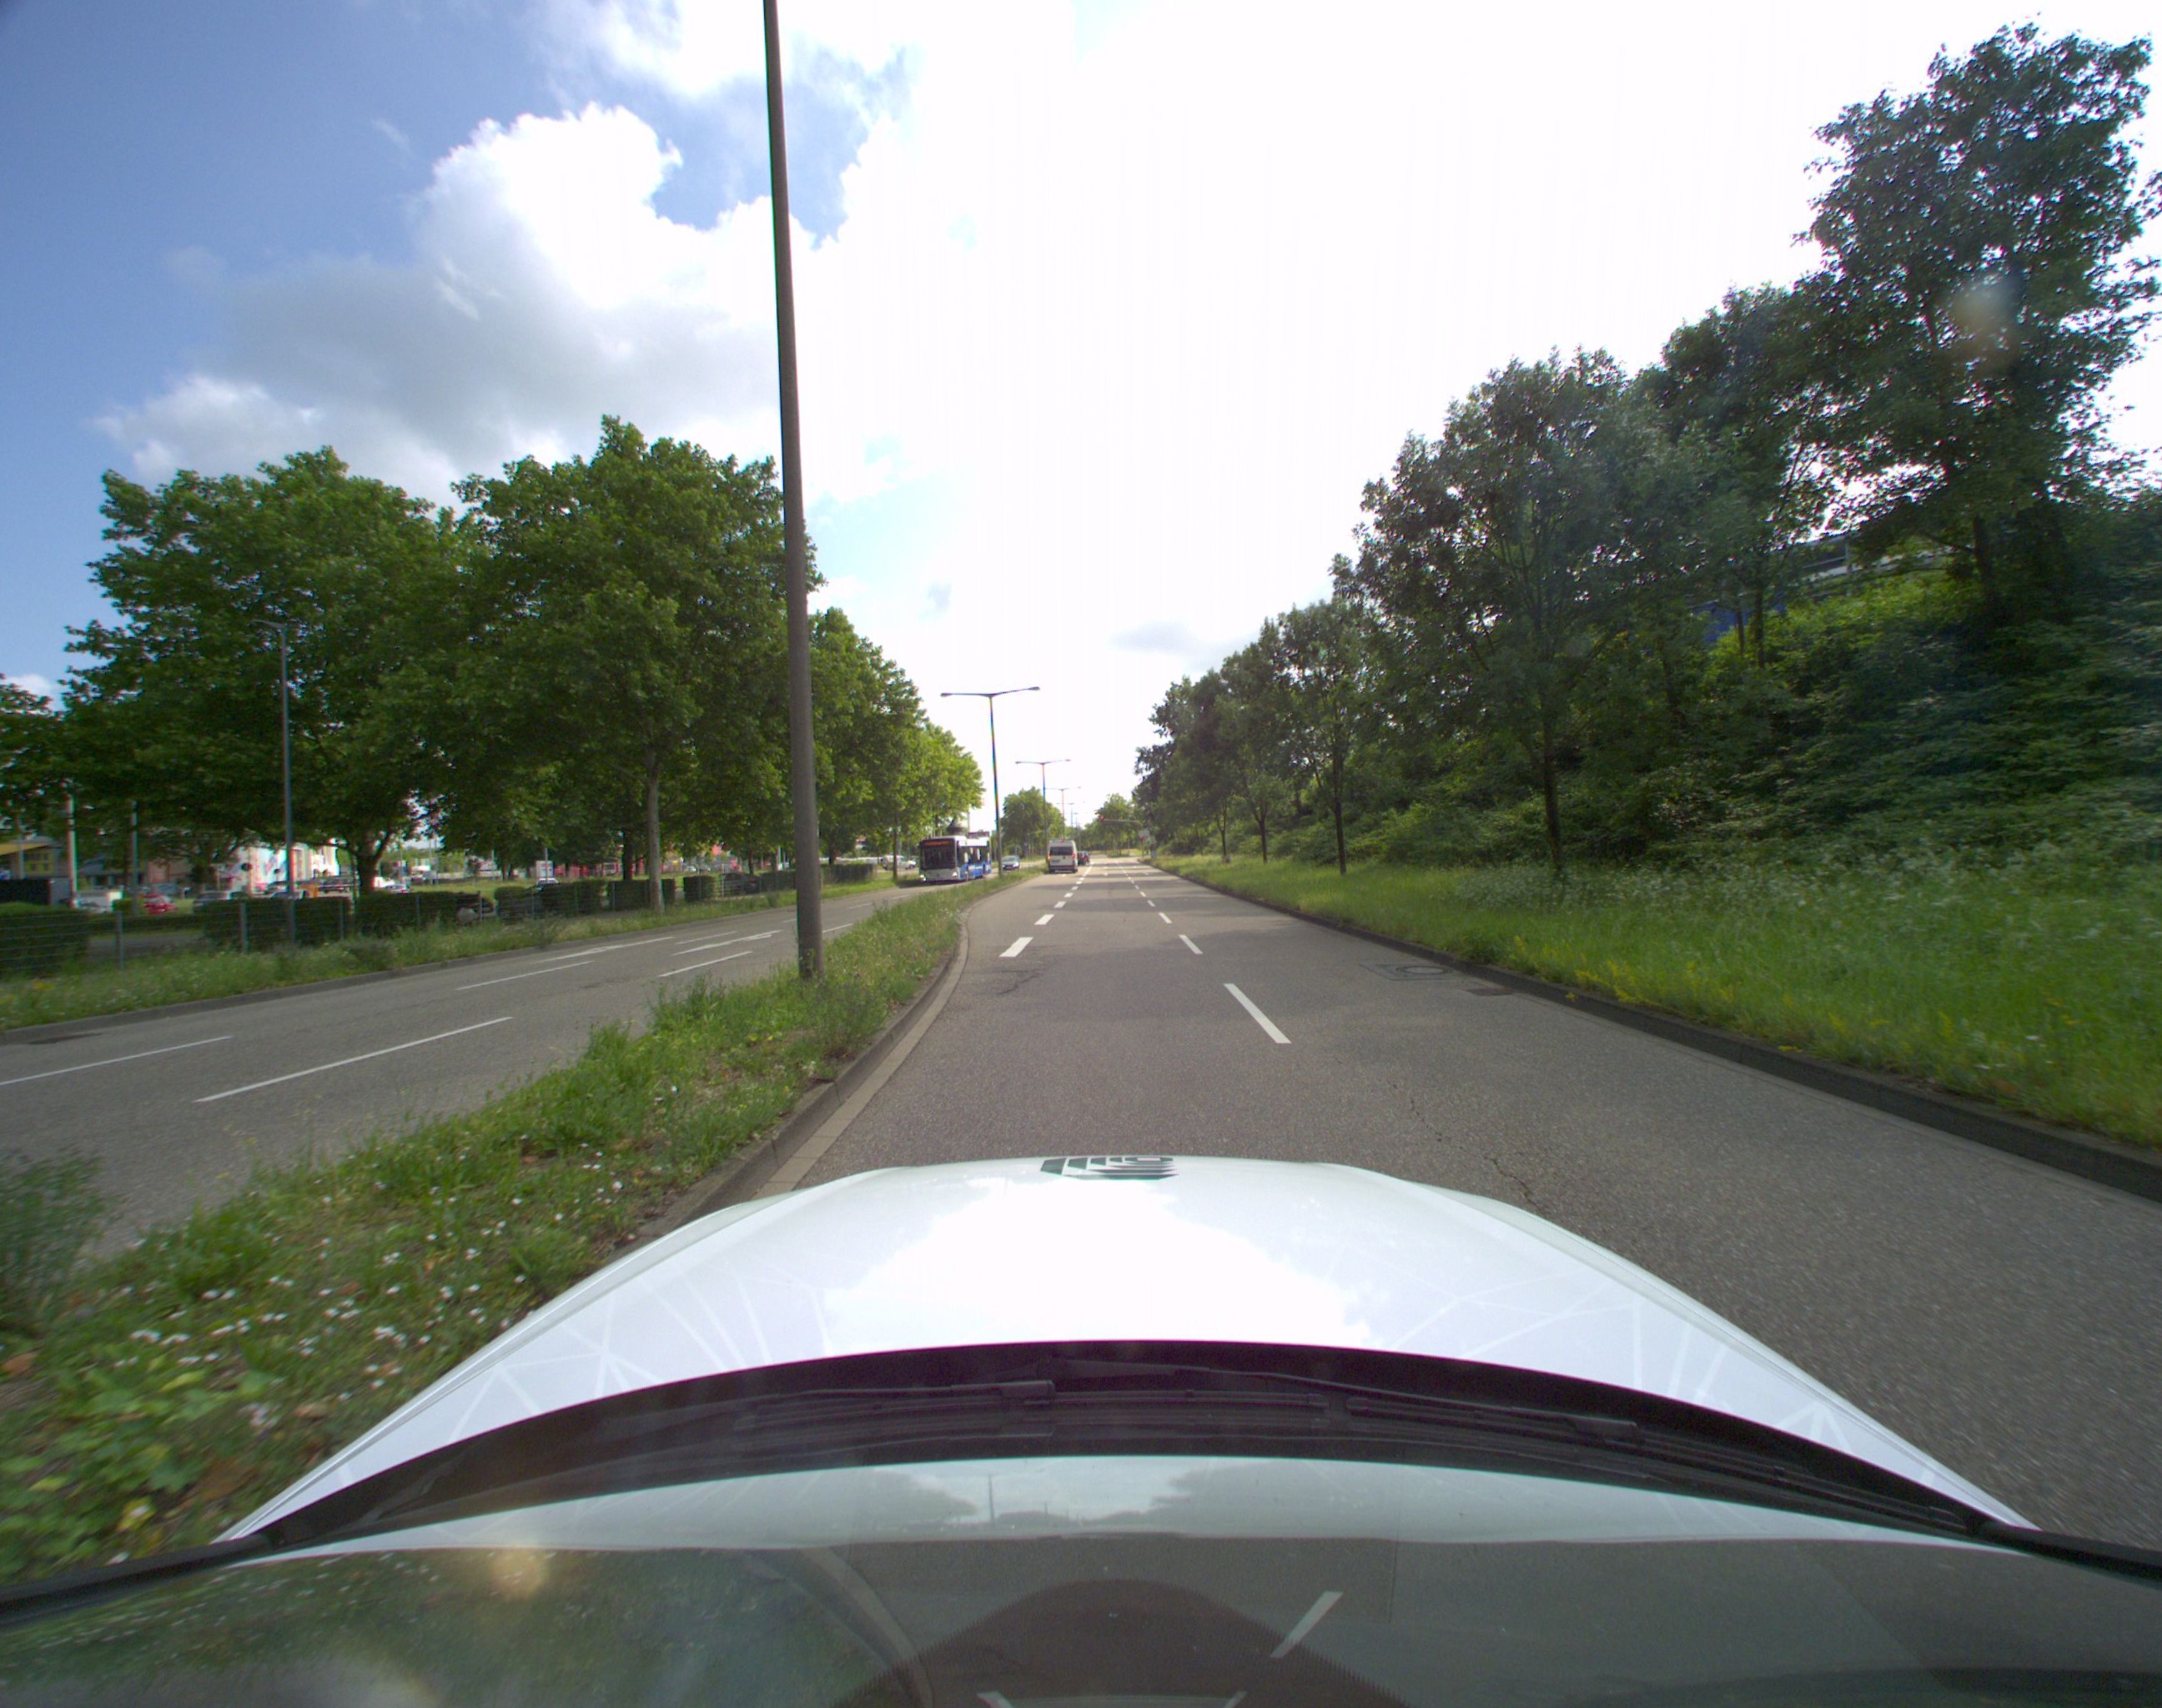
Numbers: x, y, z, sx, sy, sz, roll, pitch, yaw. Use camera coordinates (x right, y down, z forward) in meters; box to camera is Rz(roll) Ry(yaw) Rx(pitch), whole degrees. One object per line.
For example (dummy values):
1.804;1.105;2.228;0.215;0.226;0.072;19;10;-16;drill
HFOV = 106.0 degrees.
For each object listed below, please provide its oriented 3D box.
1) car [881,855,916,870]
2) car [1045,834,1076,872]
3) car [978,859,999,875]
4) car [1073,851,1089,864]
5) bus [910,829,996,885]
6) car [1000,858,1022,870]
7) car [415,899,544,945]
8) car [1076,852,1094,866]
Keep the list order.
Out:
-23.696;1.100;105.611;4.019;1.838;1.844;1;-4;-38;car
-1.490;-0.116;62.025;2.190;2.726;4.931;-1;1;0;car
-10.671;1.533;93.891;1.877;1.583;3.881;-1;-3;1;car
-0.035;0.423;103.031;1.802;1.470;3.851;-3;0;-3;car
-8.551;0.209;56.357;3.096;3.274;12.349;-3;0;4;bus
-6.351;0.891;73.696;1.553;1.041;3.415;-3;0;2;car
-23.033;2.579;31.393;1.885;1.596;4.000;-1;-3;1;car
0.433;0.529;90.679;1.802;1.470;3.851;-3;0;-3;car
